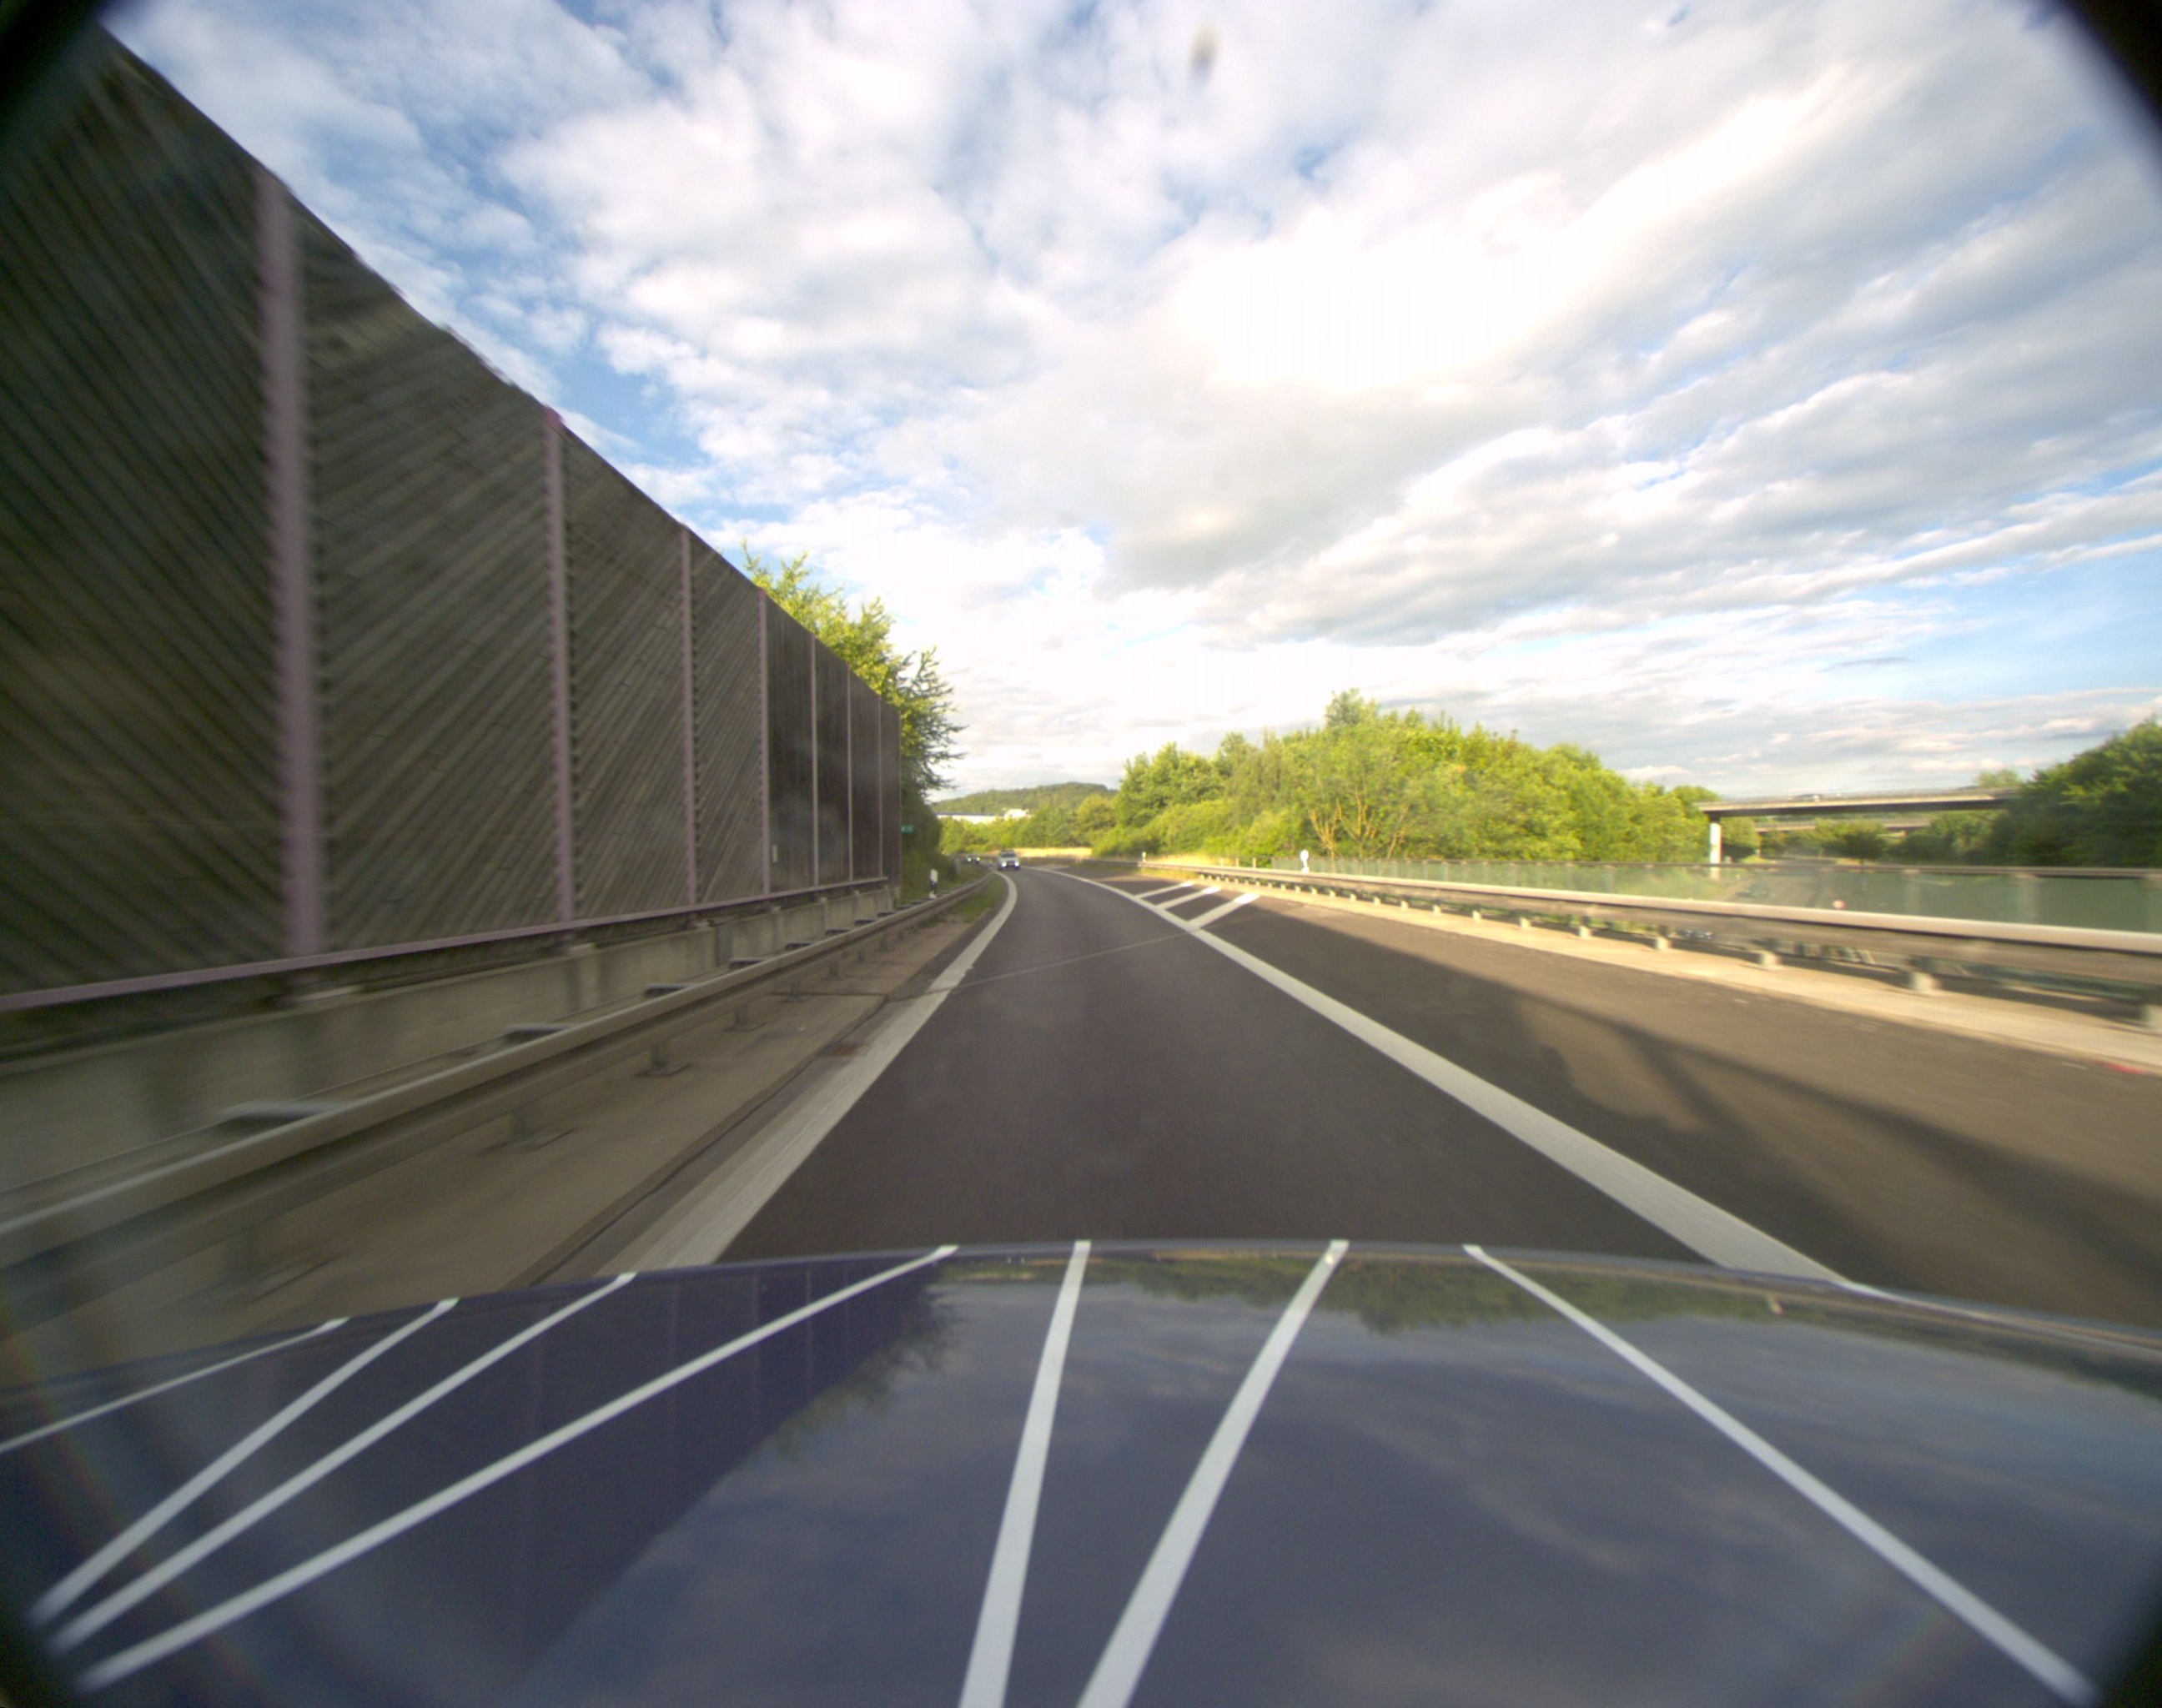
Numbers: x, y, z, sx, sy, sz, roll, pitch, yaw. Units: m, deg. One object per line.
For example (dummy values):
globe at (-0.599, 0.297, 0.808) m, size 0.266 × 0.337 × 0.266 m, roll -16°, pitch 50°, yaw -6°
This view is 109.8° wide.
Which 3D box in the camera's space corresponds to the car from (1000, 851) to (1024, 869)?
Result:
car at (-6.656, 0.555, 72.929) m, size 1.906 × 1.655 × 3.997 m, roll -3°, pitch 1°, yaw -9°

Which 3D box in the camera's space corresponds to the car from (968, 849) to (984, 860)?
car at (-15.900, 0.054, 114.664) m, size 1.622 × 1.452 × 3.656 m, roll -3°, pitch 2°, yaw -20°
